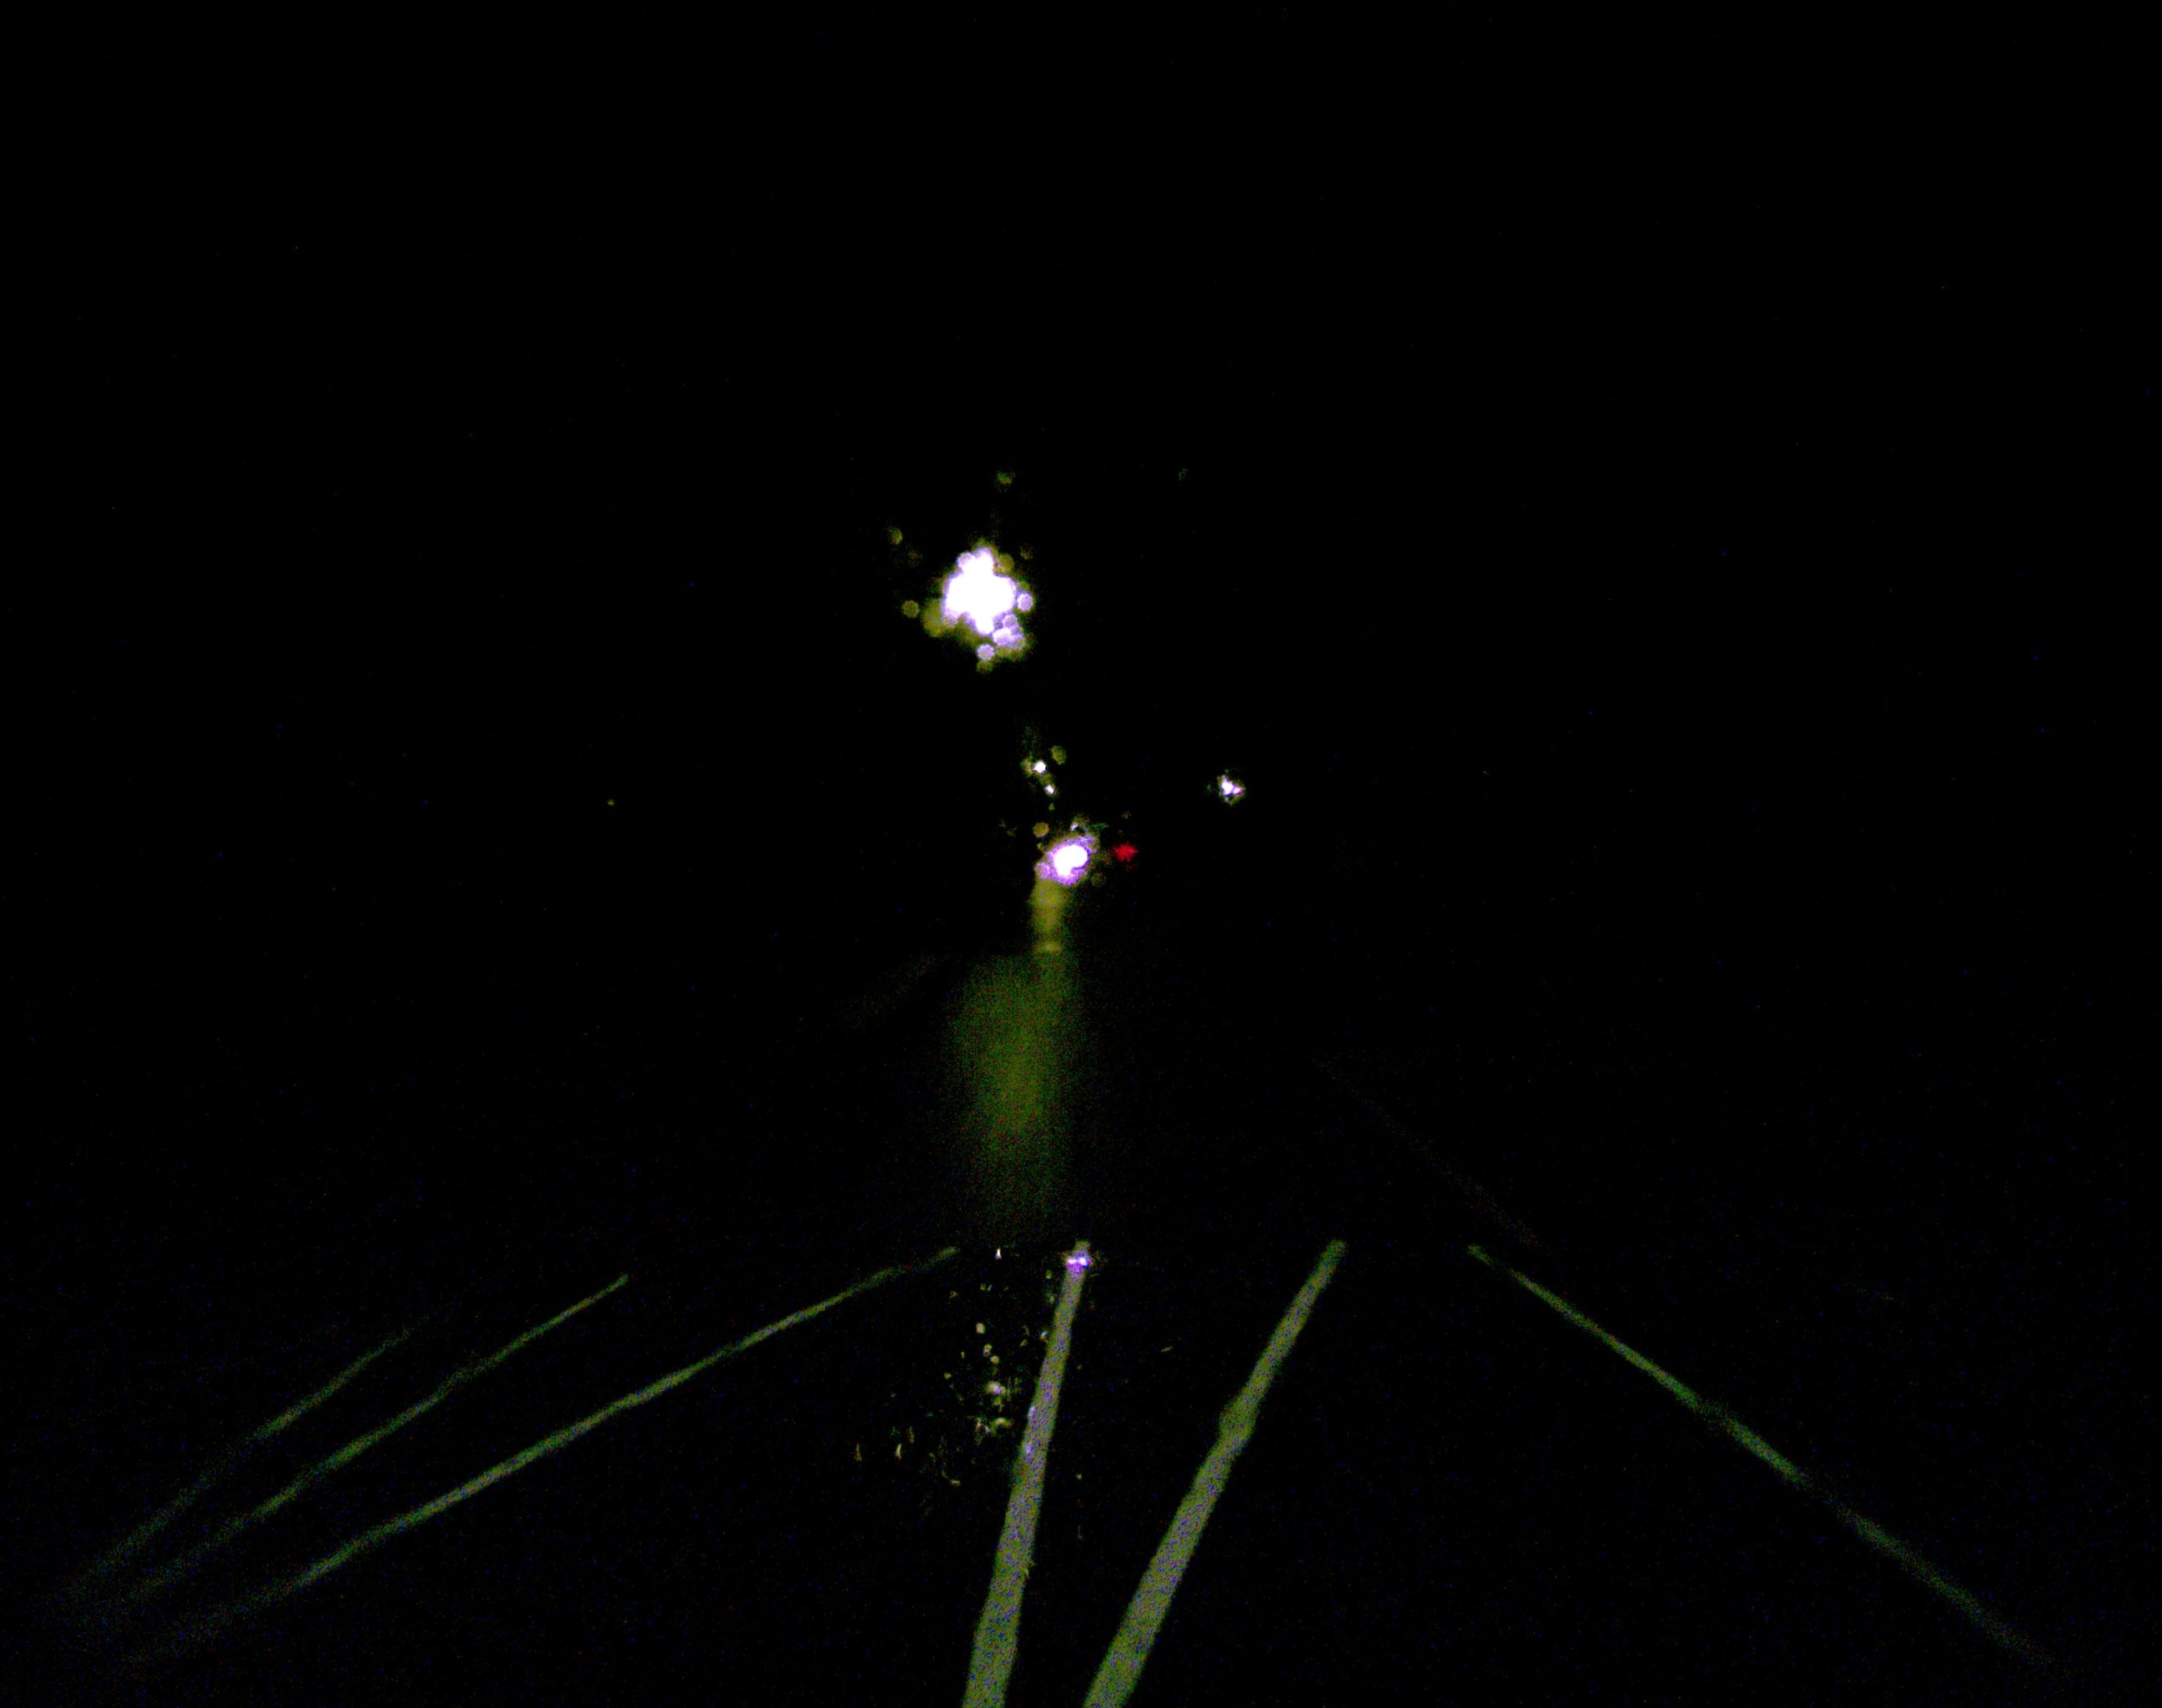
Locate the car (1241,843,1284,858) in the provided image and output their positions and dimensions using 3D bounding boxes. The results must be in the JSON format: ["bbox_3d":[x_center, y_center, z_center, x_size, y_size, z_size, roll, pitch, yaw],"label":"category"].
[{"bbox_3d":[18.483,-0.387,77.530,4.085,1.364,1.493,-1,5,4],"label":"car"}]

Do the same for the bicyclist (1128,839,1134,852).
[{"bbox_3d":[6.708,-1.127,101.721,0.638,1.585,0.960,-3,-1,-2],"label":"bicyclist"}]

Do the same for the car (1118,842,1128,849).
[{"bbox_3d":[10.074,-2.015,182.603,1.997,1.447,4.304,2,2,7],"label":"car"}]
